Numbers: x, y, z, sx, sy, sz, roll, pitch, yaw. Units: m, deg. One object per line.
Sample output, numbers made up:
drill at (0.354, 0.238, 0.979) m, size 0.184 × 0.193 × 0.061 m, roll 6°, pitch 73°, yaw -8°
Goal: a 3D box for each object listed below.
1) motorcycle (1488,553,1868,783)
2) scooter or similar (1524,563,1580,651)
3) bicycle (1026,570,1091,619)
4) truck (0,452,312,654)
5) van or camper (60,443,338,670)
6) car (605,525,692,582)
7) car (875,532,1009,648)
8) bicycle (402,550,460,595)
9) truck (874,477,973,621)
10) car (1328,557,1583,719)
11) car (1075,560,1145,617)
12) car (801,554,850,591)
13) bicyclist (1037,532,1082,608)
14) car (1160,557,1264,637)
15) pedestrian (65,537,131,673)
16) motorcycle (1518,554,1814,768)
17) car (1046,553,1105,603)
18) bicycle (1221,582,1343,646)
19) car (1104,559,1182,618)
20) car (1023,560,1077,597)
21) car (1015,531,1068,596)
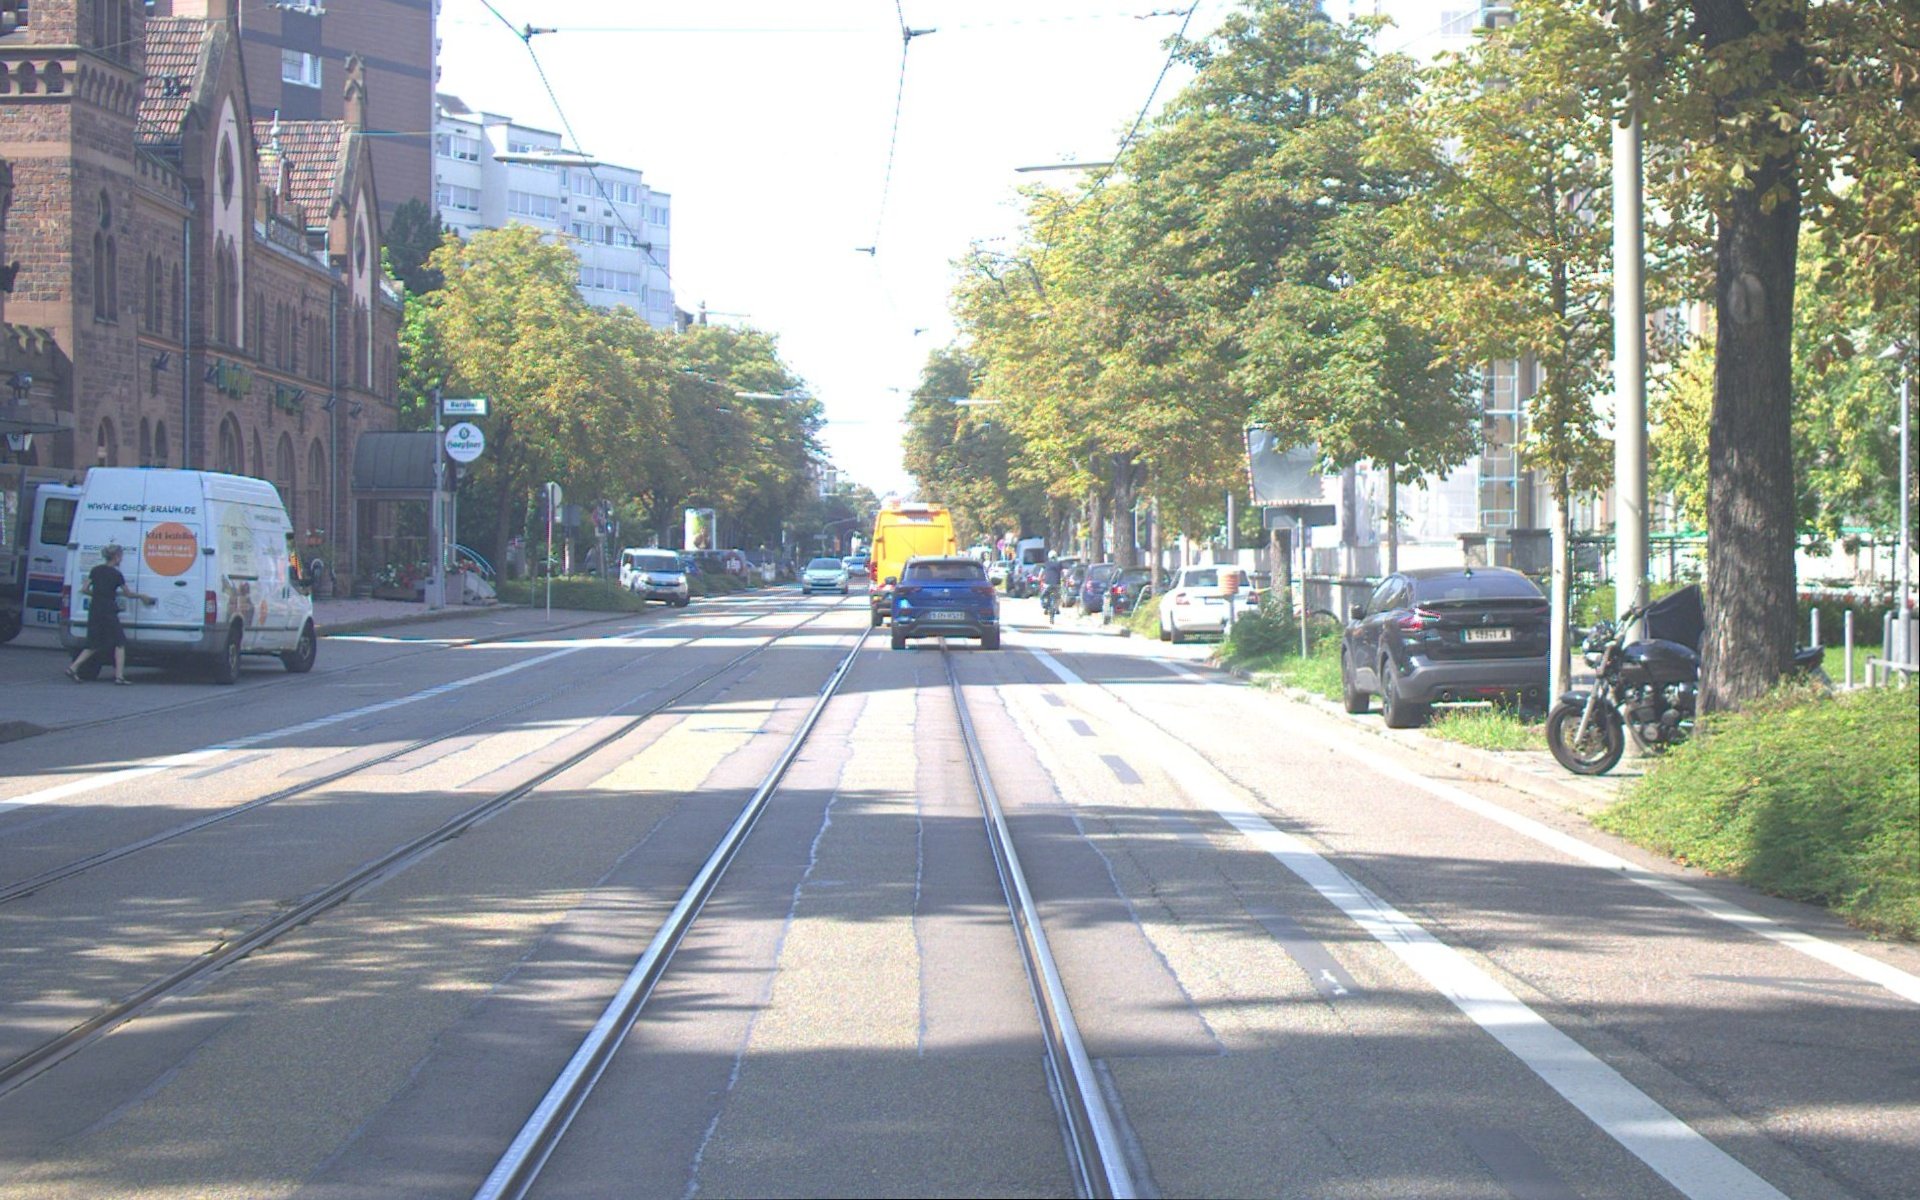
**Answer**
motorcycle at (4.993, 0.441, 24.024) m, size 2.452 × 1.511 × 0.851 m, roll 1°, pitch 1°, yaw 38°
scooter or similar at (8.688, 0.093, 50.501) m, size 0.556 × 1.255 × 1.818 m, roll 1°, pitch 1°, yaw 2°
bicycle at (2.351, -0.142, 82.863) m, size 1.401 × 1.130 × 4.000 m, roll 1°, pitch 1°, yaw -1°
truck at (-12.637, -0.758, 48.784) m, size 6.321 × 2.529 × 2.130 m, roll 4°, pitch 2°, yaw 5°
van or camper at (-9.609, -0.557, 43.944) m, size 2.113 × 2.666 × 5.955 m, roll 1°, pitch 1°, yaw 1°
car at (-10.197, -1.519, 112.394) m, size 1.746 × 1.790 × 4.001 m, roll 1°, pitch 1°, yaw -22°
car at (-0.308, -0.198, 58.005) m, size 2.135 × 1.852 × 5.568 m, roll 0°, pitch 1°, yaw 0°
bicycle at (-14.115, -0.736, 91.746) m, size 1.451 × 1.089 × 0.399 m, roll 4°, pitch 0°, yaw -4°
truck at (-0.803, -1.145, 77.689) m, size 2.135 × 3.114 × 6.085 m, roll 0°, pitch 1°, yaw 0°
car at (4.915, 0.331, 34.689) m, size 1.755 × 1.510 × 4.610 m, roll -1°, pitch 1°, yaw -2°
car at (4.142, -0.330, 95.502) m, size 1.743 × 1.550 × 4.217 m, roll 0°, pitch 0°, yaw 0°
car at (-5.578, -1.166, 143.434) m, size 1.847 × 1.486 × 4.867 m, roll 0°, pitch 1°, yaw 0°
bicyclist at (2.393, -0.715, 82.860) m, size 1.031 × 1.806 × 1.016 m, roll 1°, pitch 1°, yaw -1°
car at (4.777, -0.073, 65.570) m, size 1.659 × 1.476 × 4.217 m, roll 0°, pitch 0°, yaw 0°
pedestrian at (-10.180, 0.056, 40.612) m, size 0.498 × 1.593 × 0.551 m, roll 1°, pitch 1°, yaw 25°
motorcycle at (5.243, 0.421, 25.724) m, size 0.850 × 1.511 × 2.456 m, roll 1°, pitch 1°, yaw -25°
car at (3.959, -0.765, 118.693) m, size 1.740 × 1.662 × 4.362 m, roll 1°, pitch 1°, yaw -2°
bicycle at (4.943, 0.216, 52.813) m, size 1.812 × 0.955 × 0.558 m, roll 1°, pitch 1°, yaw 0°
car at (4.439, -0.290, 83.952) m, size 1.659 × 1.403 × 4.217 m, roll 0°, pitch 0°, yaw 0°
car at (3.627, -0.868, 139.214) m, size 1.908 × 1.427 × 4.293 m, roll 1°, pitch 1°, yaw -2°
car at (3.523, -1.608, 149.800) m, size 1.993 × 2.746 × 5.762 m, roll 1°, pitch 1°, yaw -2°
